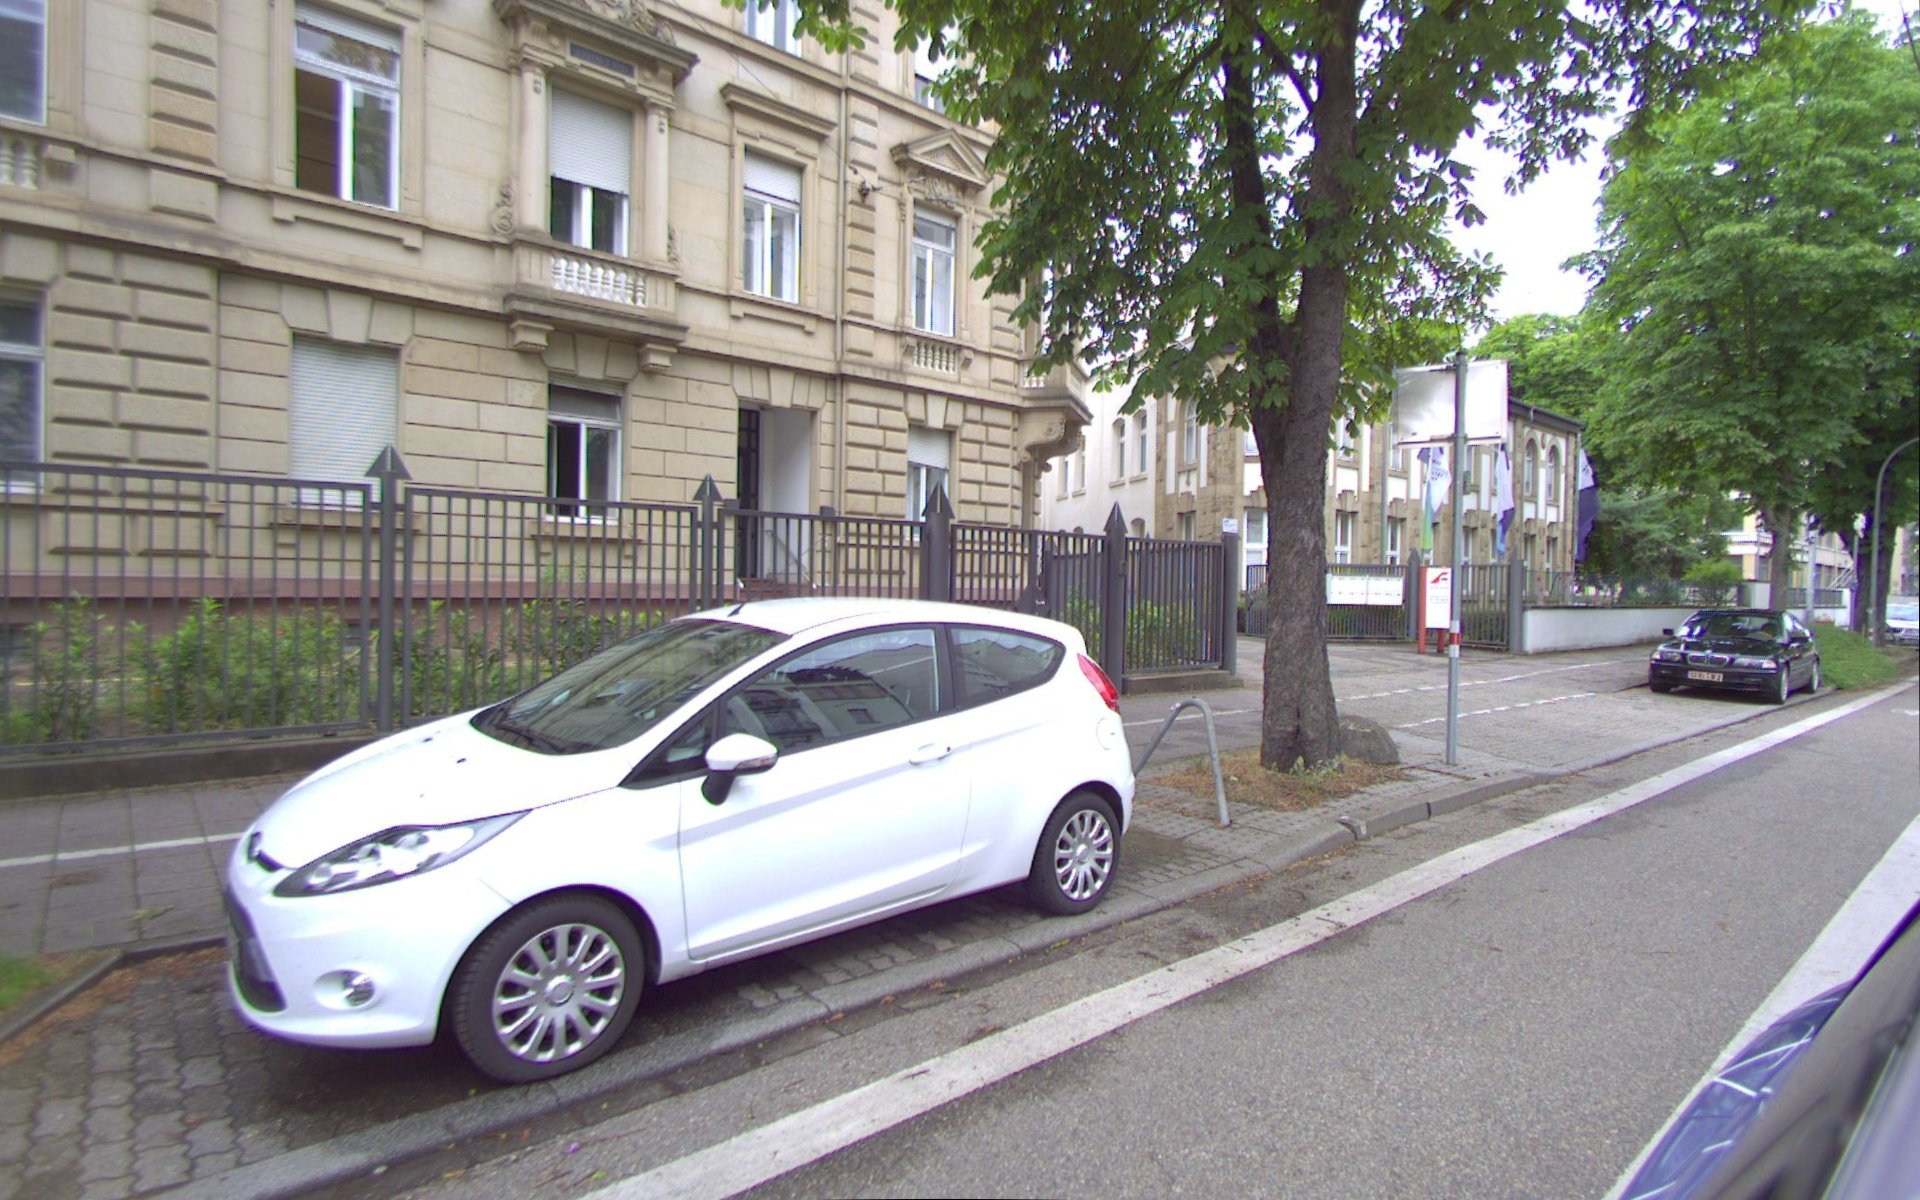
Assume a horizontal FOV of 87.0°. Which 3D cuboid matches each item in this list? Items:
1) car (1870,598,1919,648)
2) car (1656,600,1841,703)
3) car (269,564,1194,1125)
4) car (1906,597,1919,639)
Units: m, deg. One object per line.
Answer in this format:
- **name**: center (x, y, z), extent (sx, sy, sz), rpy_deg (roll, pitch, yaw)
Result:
- **car**: center (29.383, 0.683, 31.105), extent (3.769, 1.387, 1.606), rpy_deg (0, 3, -41)
- **car**: center (12.803, 0.742, 16.366), extent (3.769, 1.387, 1.606), rpy_deg (0, 3, -41)
- **car**: center (-0.766, 0.637, 4.534), extent (3.698, 1.453, 1.631), rpy_deg (0, 3, -41)
- **car**: center (34.734, 0.660, 35.640), extent (3.769, 1.442, 1.606), rpy_deg (0, 3, -41)
